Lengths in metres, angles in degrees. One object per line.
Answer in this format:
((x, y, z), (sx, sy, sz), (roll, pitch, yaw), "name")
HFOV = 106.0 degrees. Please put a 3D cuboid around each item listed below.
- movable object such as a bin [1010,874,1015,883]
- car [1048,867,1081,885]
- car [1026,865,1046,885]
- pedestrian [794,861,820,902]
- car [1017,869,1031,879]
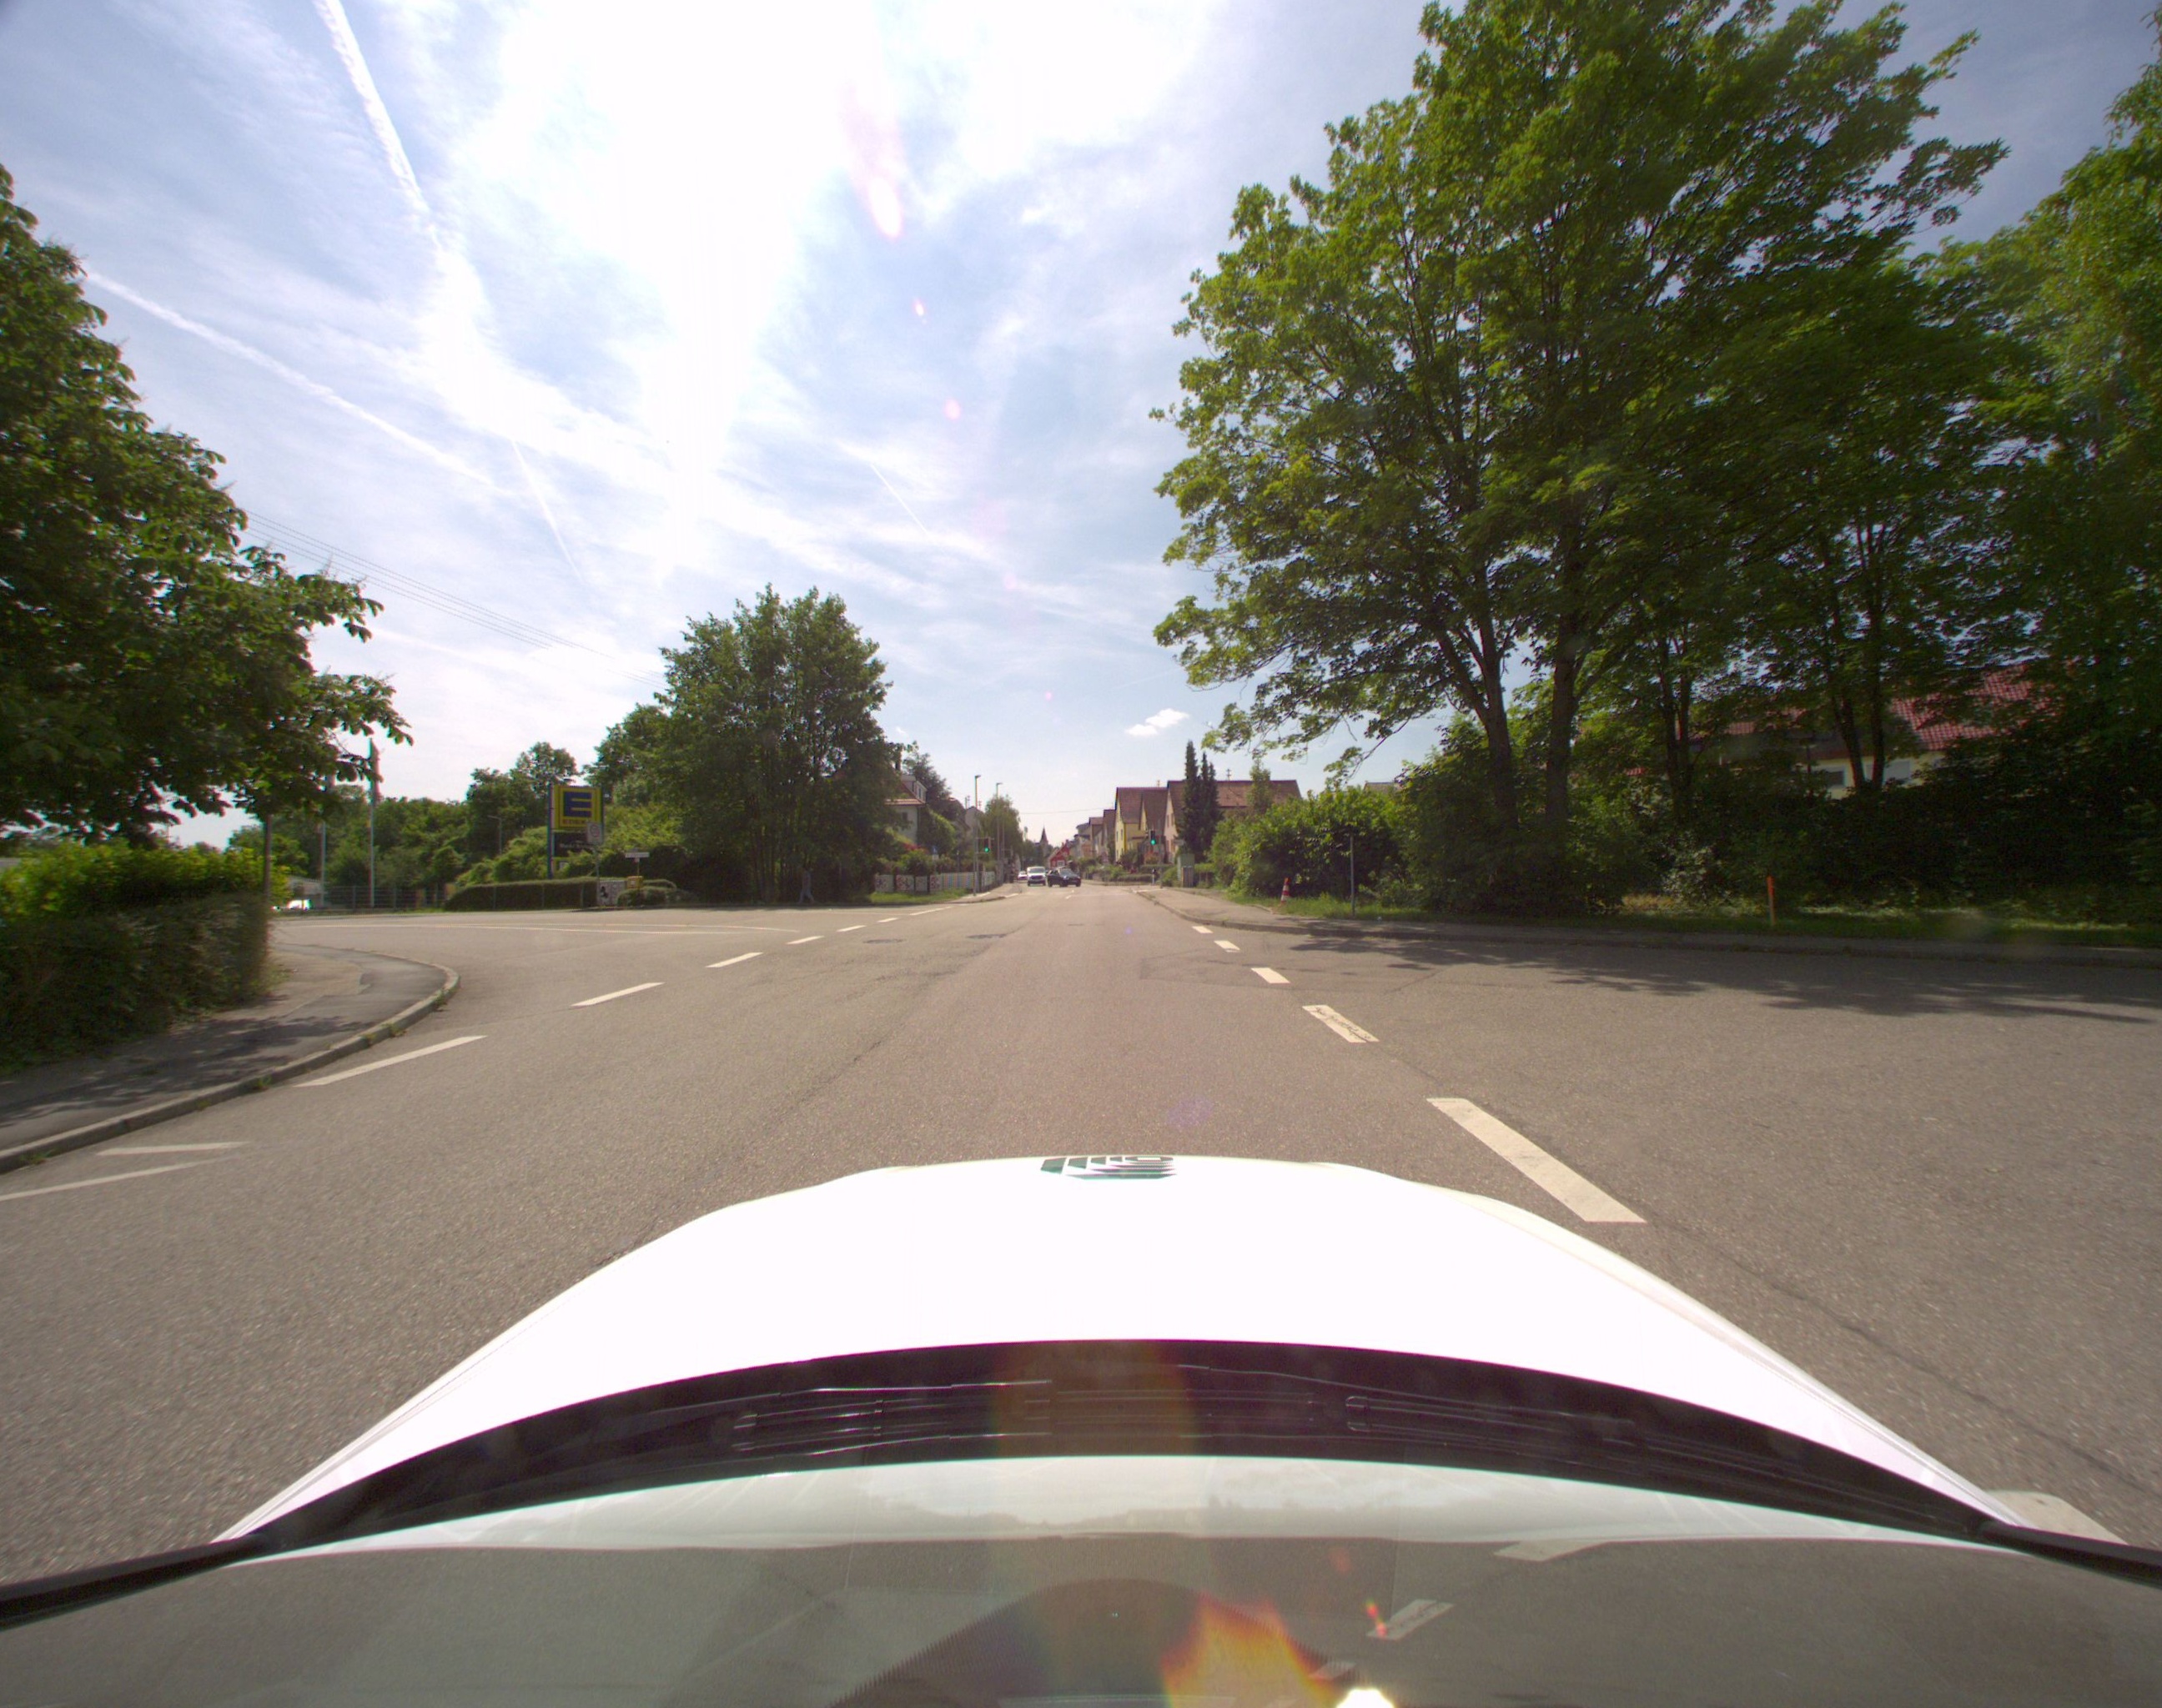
((-8.395, 3.022, 100.467), (0.607, 1.046, 0.724), (-1, 0, -5), "movable object such as a bin")
((-1.504, 1.938, 72.006), (1.540, 1.541, 4.274), (-2, 0, -21), "car")
((-4.692, 2.192, 84.417), (1.876, 1.965, 4.893), (-3, -2, -5), "car")
((-12.131, 1.218, 36.046), (0.729, 1.777, 0.693), (-4, -3, 19), "pedestrian")
((-9.930, 3.454, 142.102), (2.104, 1.561, 4.312), (-2, -1, 0), "car")
